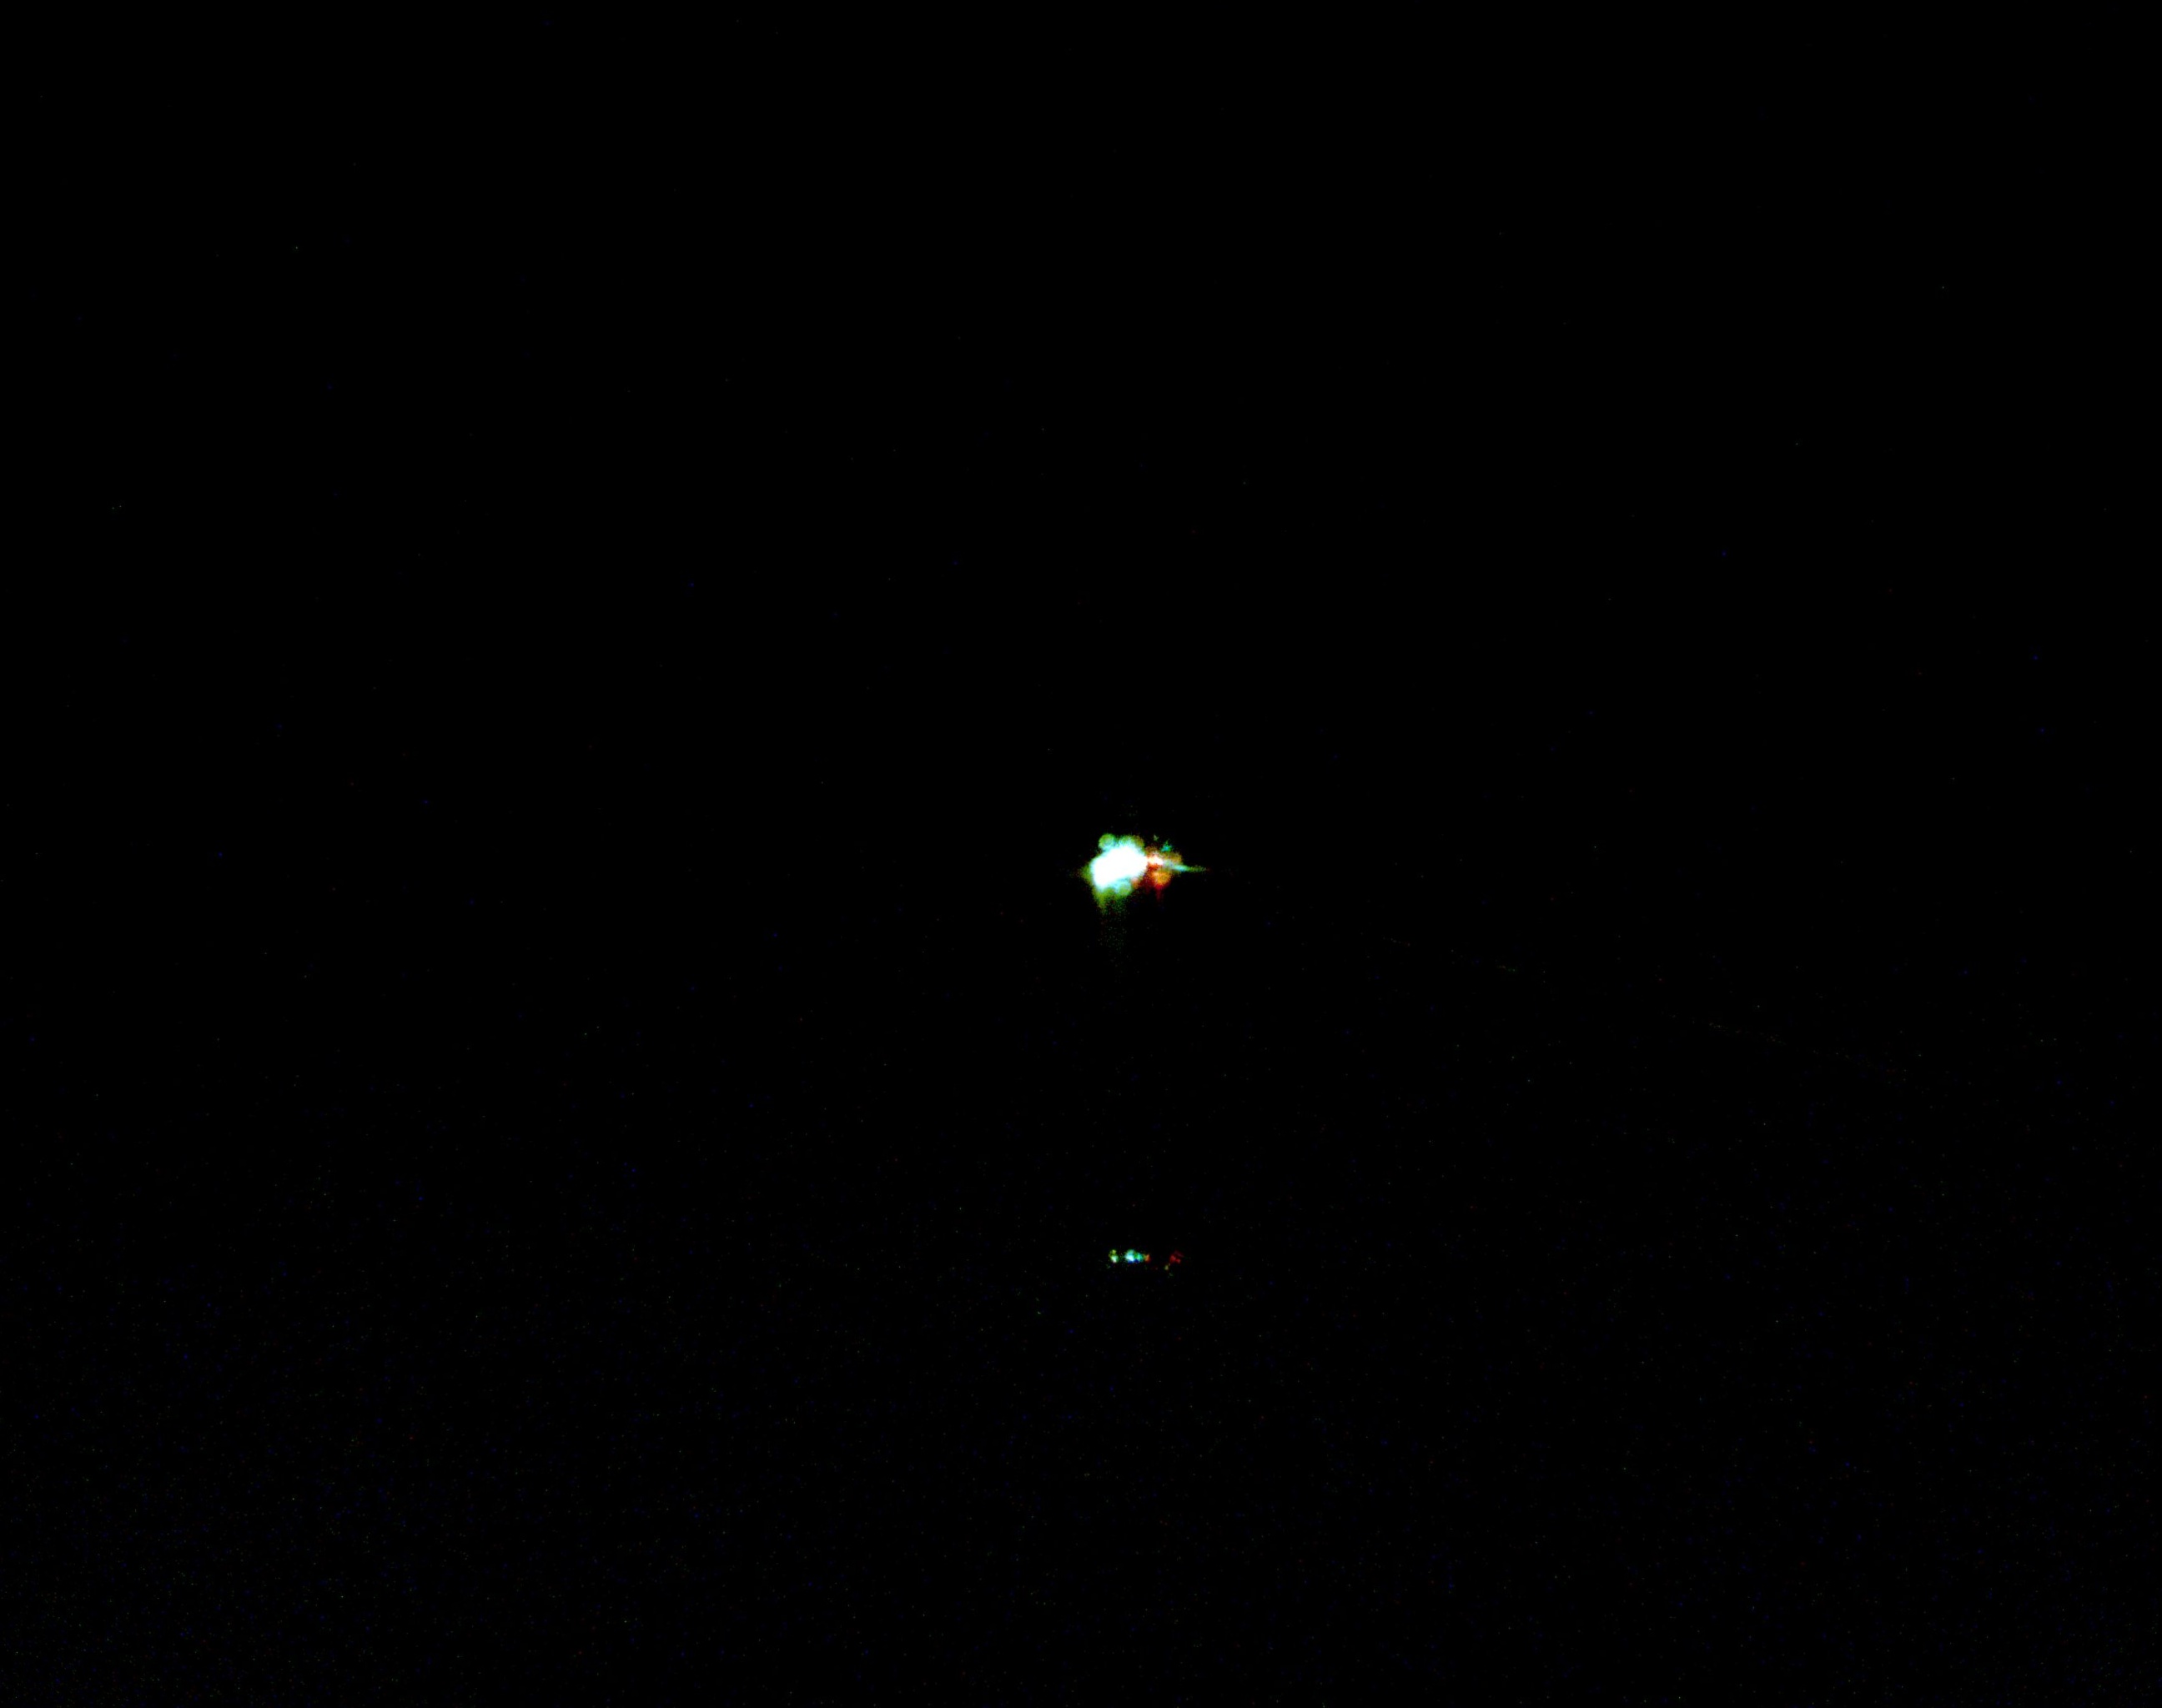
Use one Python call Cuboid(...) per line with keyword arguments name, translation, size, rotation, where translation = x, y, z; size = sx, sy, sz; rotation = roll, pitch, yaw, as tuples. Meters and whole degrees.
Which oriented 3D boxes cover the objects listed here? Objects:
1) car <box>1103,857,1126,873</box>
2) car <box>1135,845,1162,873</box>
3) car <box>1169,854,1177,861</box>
Cuboid(name="car", translation=(3.688, 1.158, 82.821), size=(1.877, 1.578, 4.892), rotation=(-2, 0, 9))
Cuboid(name="car", translation=(5.720, 0.423, 65.122), size=(1.998, 2.259, 5.468), rotation=(-2, 0, 2))
Cuboid(name="car", translation=(28.312, 0.954, 232.965), size=(2.157, 2.002, 4.999), rotation=(-2, 0, 10))
